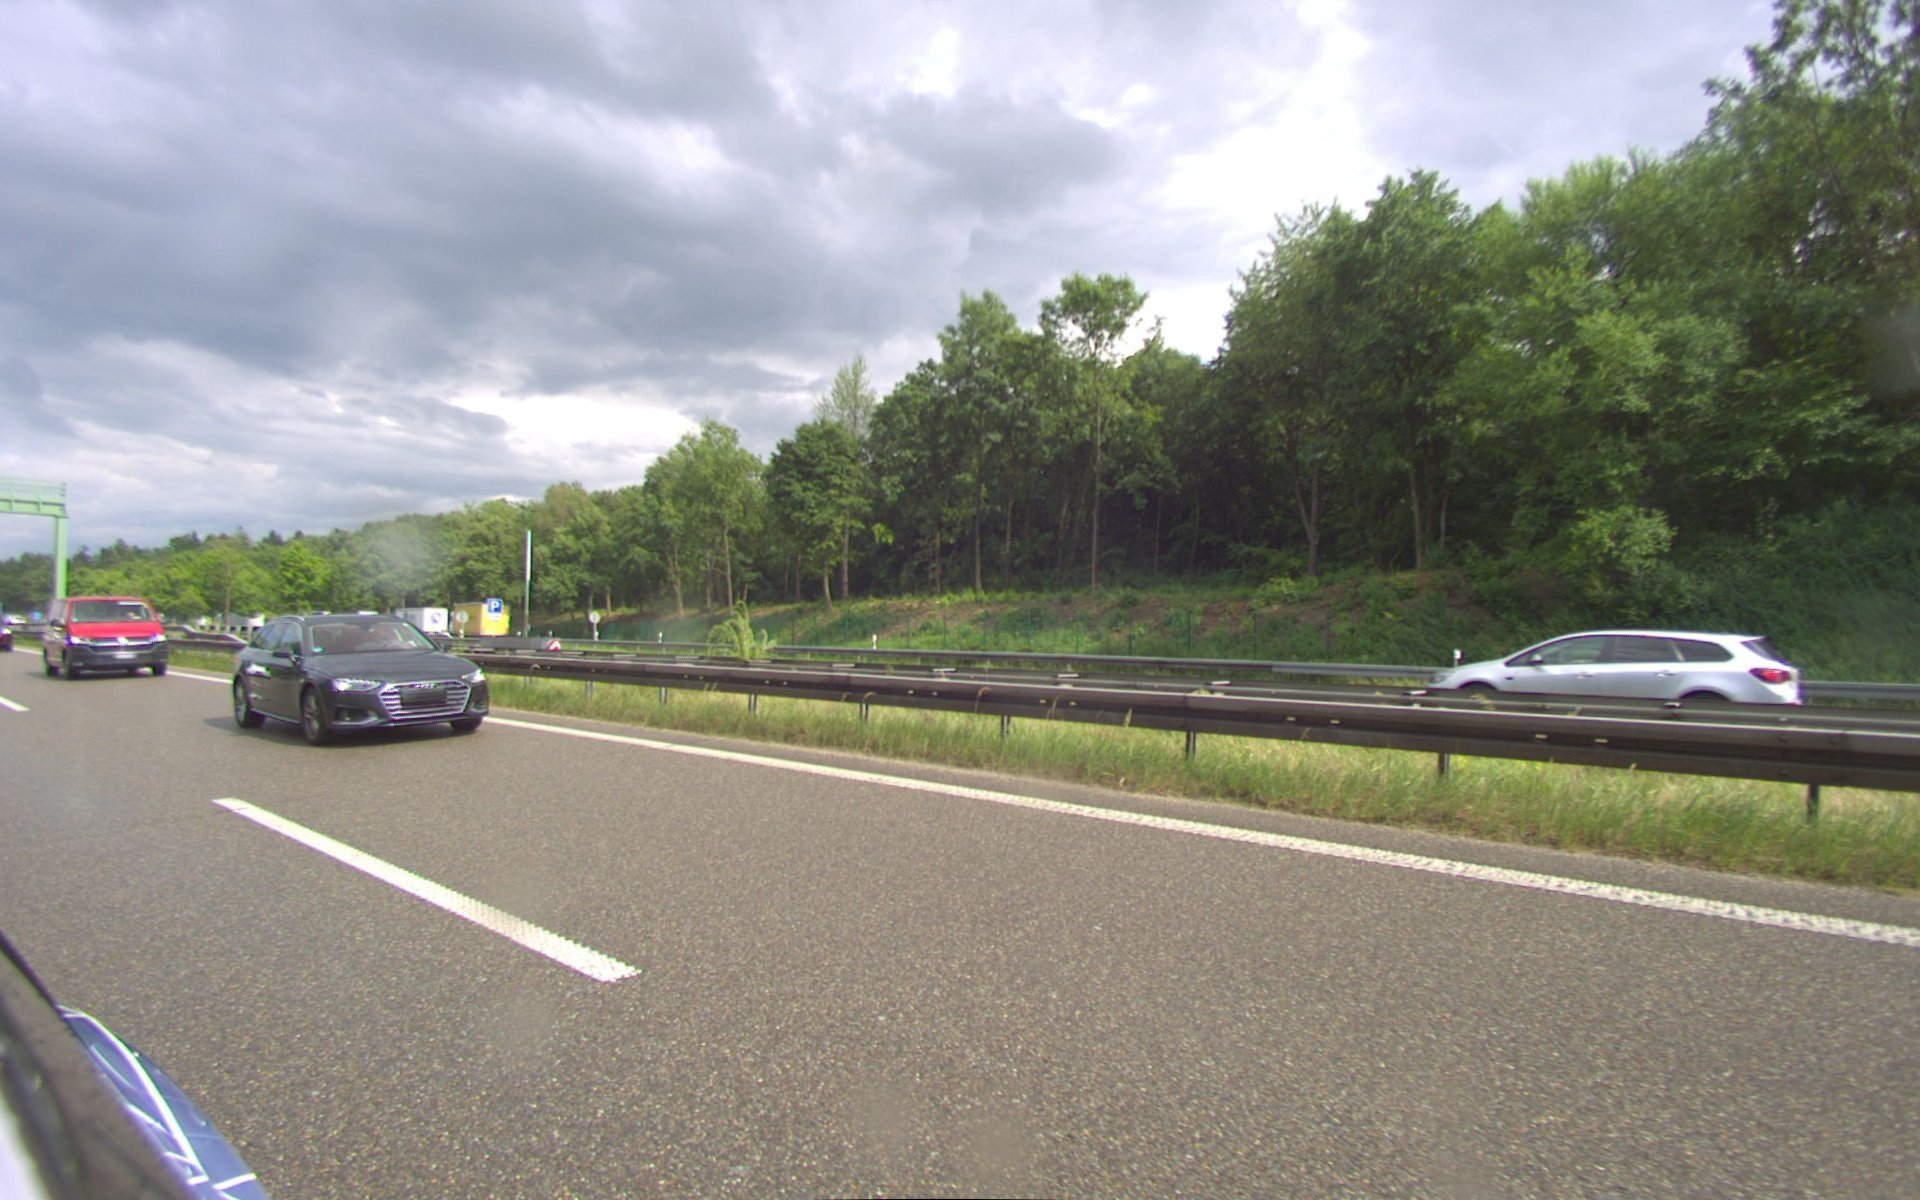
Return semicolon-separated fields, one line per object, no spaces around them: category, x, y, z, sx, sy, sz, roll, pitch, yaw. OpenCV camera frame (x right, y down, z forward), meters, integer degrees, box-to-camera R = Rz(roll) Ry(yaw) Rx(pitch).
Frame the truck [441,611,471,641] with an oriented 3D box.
truck;-54.543;2.811;109.424;1.950;3.121;5.087;-1;0;-37

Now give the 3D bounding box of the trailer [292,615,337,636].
trailer;-104.728;4.165;164.177;12.640;3.296;2.577;-1;-3;41

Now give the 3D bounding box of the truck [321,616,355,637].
truck;-96.477;4.098;156.916;5.596;3.208;3.009;-1;-2;43

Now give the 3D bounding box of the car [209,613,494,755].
car;-7.577;0.897;12.416;4.465;1.422;1.701;-1;-1;41

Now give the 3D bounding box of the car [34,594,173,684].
car;-20.950;0.914;24.676;4.747;2.000;1.871;-1;-1;41

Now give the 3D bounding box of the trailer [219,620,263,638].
trailer;-132.014;5.283;185.792;12.632;3.296;3.153;-1;-2;38

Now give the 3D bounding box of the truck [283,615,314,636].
truck;-110.597;4.252;169.204;6.532;3.275;2.549;-1;-2;41

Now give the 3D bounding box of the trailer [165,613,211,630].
trailer;-152.548;4.313;199.899;13.375;3.296;3.050;-1;-2;34

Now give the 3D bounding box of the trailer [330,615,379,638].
trailer;-90.968;3.971;151.824;12.173;3.217;2.986;-1;-2;43

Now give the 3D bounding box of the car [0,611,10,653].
car;-41.194;1.337;42.208;4.292;1.682;1.871;-1;-1;41

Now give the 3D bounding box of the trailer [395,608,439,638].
trailer;-68.241;2.922;127.116;2.156;3.627;11.734;2;-2;-41

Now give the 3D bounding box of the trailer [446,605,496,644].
trailer;-50.234;2.453;103.670;1.967;3.723;13.688;0;0;-37

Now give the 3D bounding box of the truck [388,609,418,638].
truck;-72.817;3.067;132.312;2.136;3.648;5.585;2;-2;-41

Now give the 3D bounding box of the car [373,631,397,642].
car;-79.740;5.018;140.433;4.002;1.514;1.873;-1;-3;45

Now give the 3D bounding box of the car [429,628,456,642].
car;-60.648;4.081;118.476;1.871;1.514;4.005;2;-2;-41

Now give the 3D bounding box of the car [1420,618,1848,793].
car;9.361;1.293;14.346;4.804;2.029;1.973;-1;0;41
